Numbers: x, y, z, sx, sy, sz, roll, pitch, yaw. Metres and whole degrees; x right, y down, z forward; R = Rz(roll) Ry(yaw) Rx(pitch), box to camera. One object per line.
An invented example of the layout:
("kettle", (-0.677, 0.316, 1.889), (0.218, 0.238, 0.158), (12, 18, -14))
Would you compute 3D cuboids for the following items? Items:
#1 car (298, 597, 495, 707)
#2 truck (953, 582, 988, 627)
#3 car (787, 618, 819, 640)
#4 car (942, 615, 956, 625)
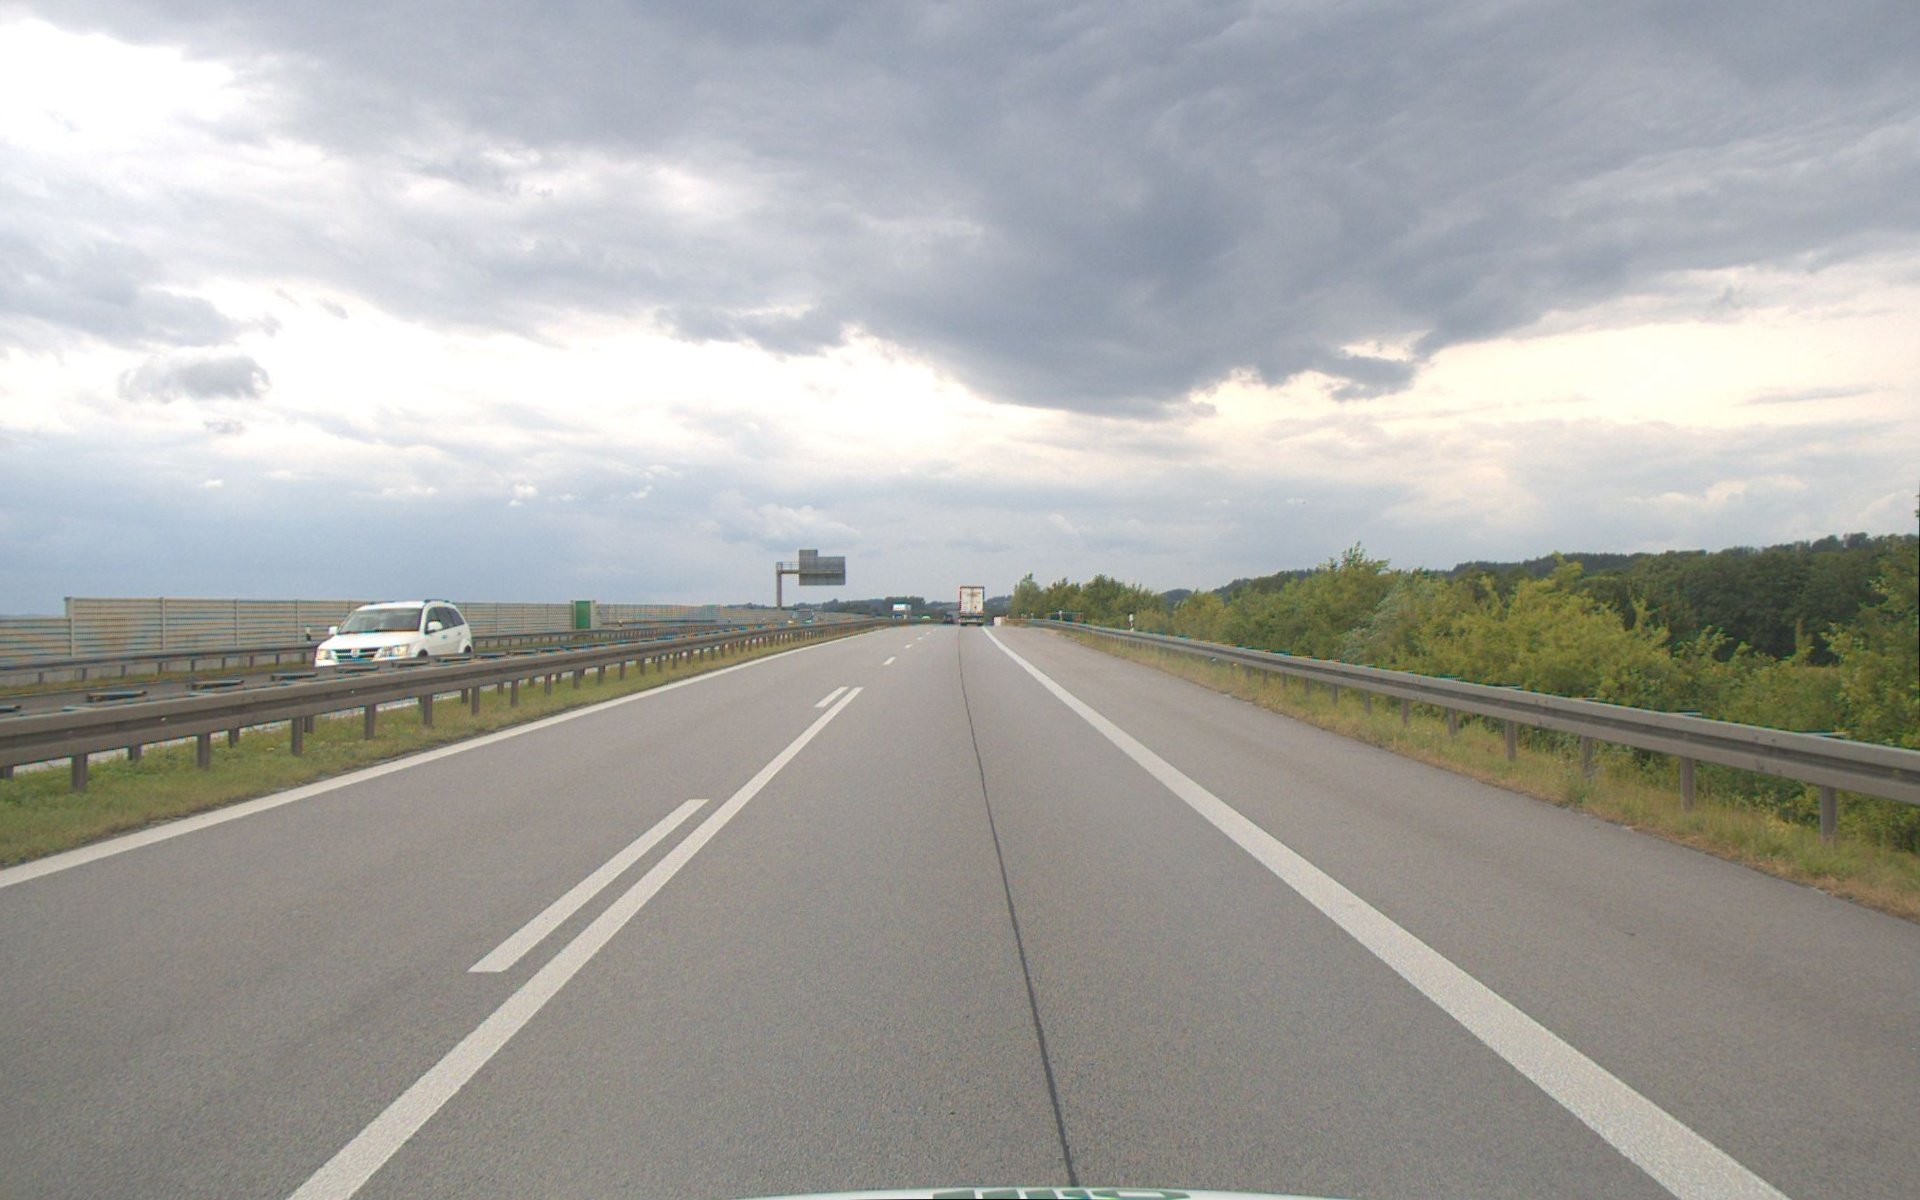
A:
("car", (-10.578, 0.903, 31.475), (2.028, 1.776, 4.960), (-3, 1, -1))
("truck", (1.187, 0.632, 179.465), (3.597, 4.490, 16.340), (-1, -1, 1))
("car", (-10.925, 2.000, 115.037), (1.751, 1.476, 5.173), (0, 0, 0))
("car", (-1.719, 2.962, 249.276), (1.953, 1.445, 3.998), (1, 0, -2))
